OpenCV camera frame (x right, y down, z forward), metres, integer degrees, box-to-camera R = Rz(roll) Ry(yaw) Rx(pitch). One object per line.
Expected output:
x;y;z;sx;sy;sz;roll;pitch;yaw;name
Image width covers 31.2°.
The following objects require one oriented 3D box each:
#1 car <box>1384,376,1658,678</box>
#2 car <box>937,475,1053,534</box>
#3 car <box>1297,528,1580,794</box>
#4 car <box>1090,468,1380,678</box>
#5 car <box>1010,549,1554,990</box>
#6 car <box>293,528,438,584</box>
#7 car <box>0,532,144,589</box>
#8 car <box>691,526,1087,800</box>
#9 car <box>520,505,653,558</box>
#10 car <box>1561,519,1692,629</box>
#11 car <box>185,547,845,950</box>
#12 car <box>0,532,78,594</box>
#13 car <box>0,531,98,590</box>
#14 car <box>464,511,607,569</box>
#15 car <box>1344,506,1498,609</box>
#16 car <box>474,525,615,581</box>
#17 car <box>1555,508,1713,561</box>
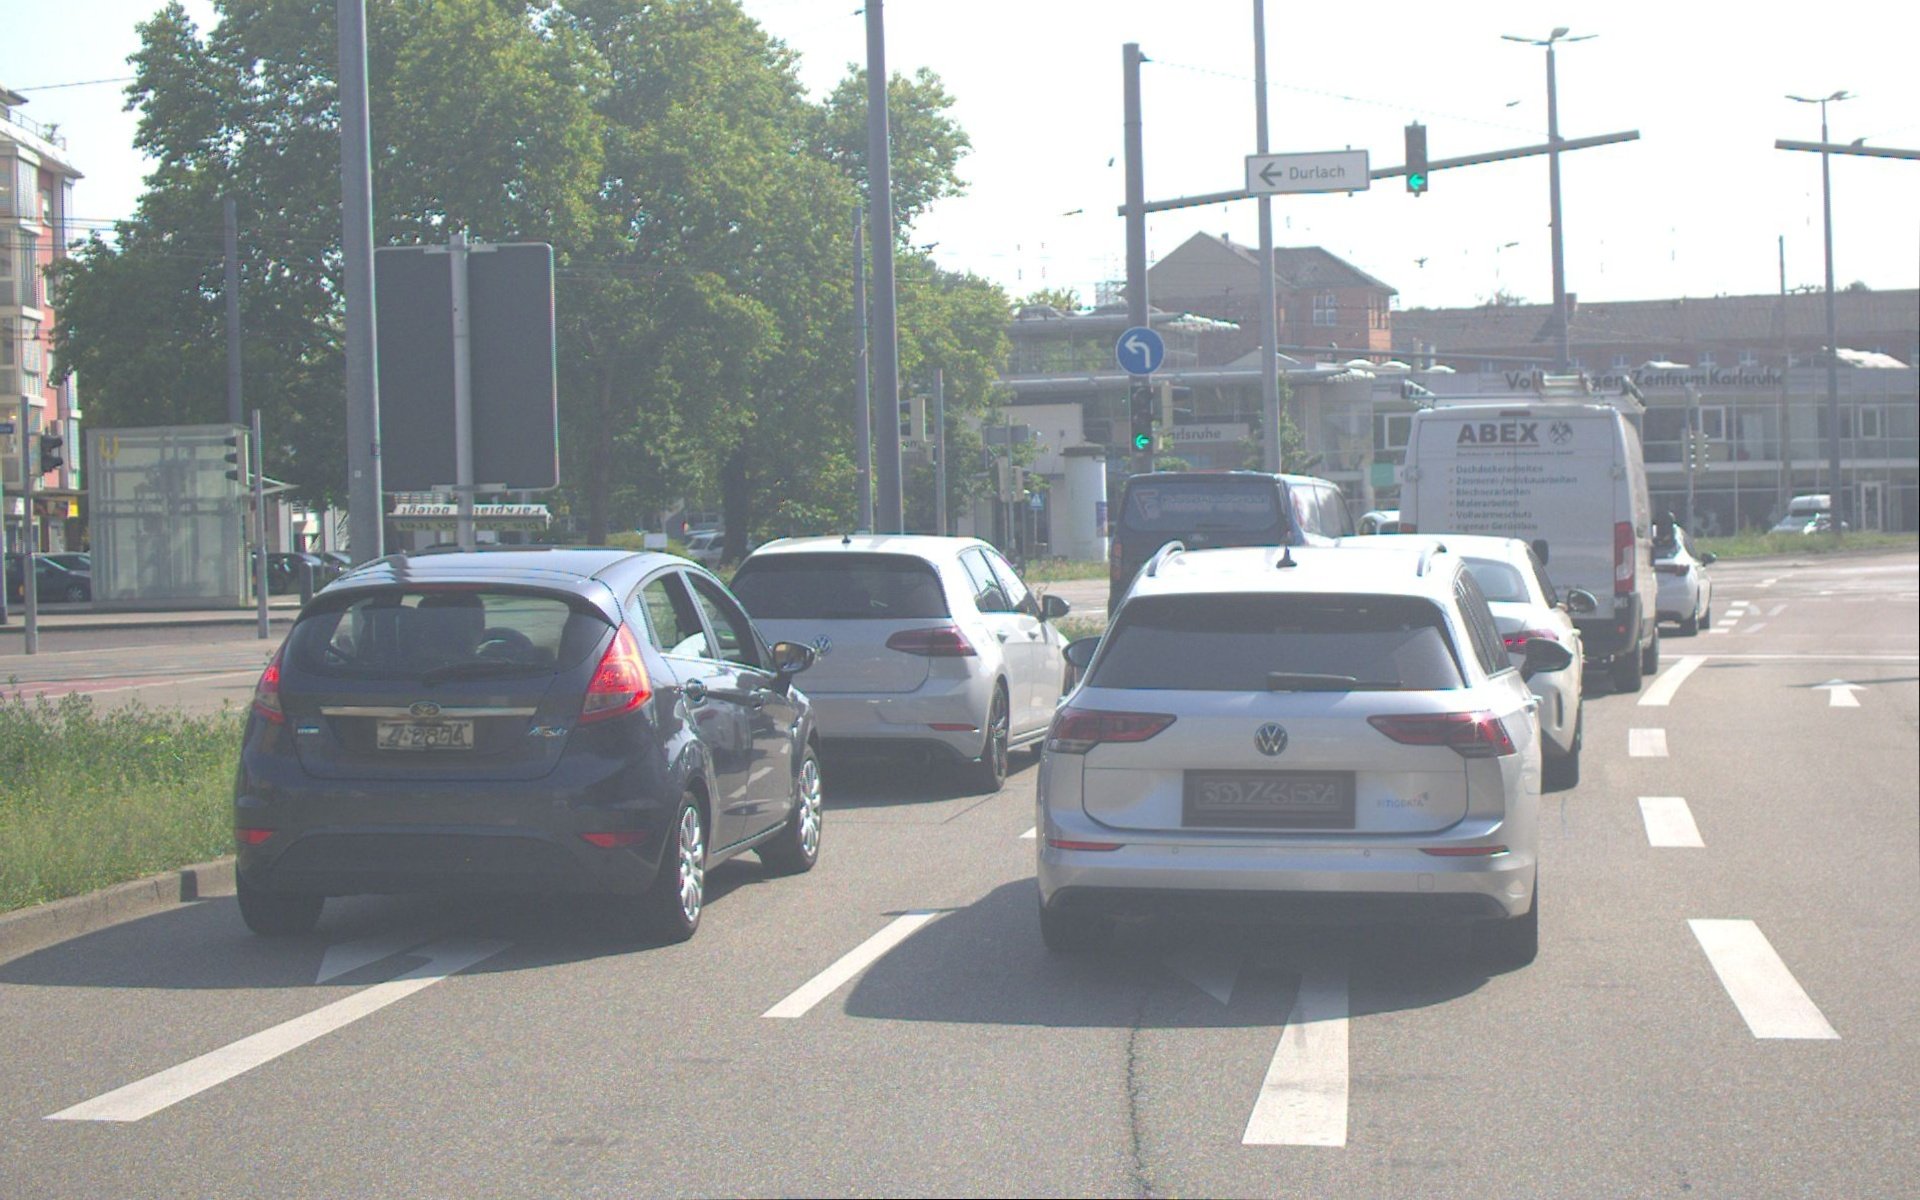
5.218;-0.646;31.472;2.190;2.540;4.681;0;1;13;car
1.284;-3.479;124.939;3.988;2.006;2.000;0;4;8;car
2.928;0.293;20.510;1.489;1.398;3.941;0;2;10;car
2.899;-0.308;35.203;2.025;2.001;4.680;0;1;16;car
1.326;0.515;12.771;1.685;1.383;3.633;0;1;10;car
-17.383;-1.290;100.685;3.986;1.552;1.728;-1;1;-3;car
-25.979;-1.147;100.147;3.986;1.552;1.869;-1;1;-3;car
-0.325;0.306;20.256;1.490;1.410;3.646;-1;2;13;car
-11.596;-2.121;106.923;3.986;1.552;1.728;-1;1;-3;car
8.921;-0.373;45.897;1.638;1.398;3.685;-1;1;12;car
-1.620;0.489;13.906;1.701;1.363;3.963;-1;1;7;car
-26.093;-0.978;92.940;3.986;1.552;1.869;-1;4;-2;car
-26.178;-1.080;95.614;3.941;1.552;1.794;-1;1;-2;car
-12.647;-1.794;102.610;3.987;1.612;1.813;-1;1;1;car
7.042;-0.655;52.202;1.624;1.497;4.085;0;1;18;car
-12.632;-1.439;104.654;3.987;1.612;1.813;-1;1;1;car
18.134;-1.769;92.629;3.966;1.337;1.930;-1;1;5;car
